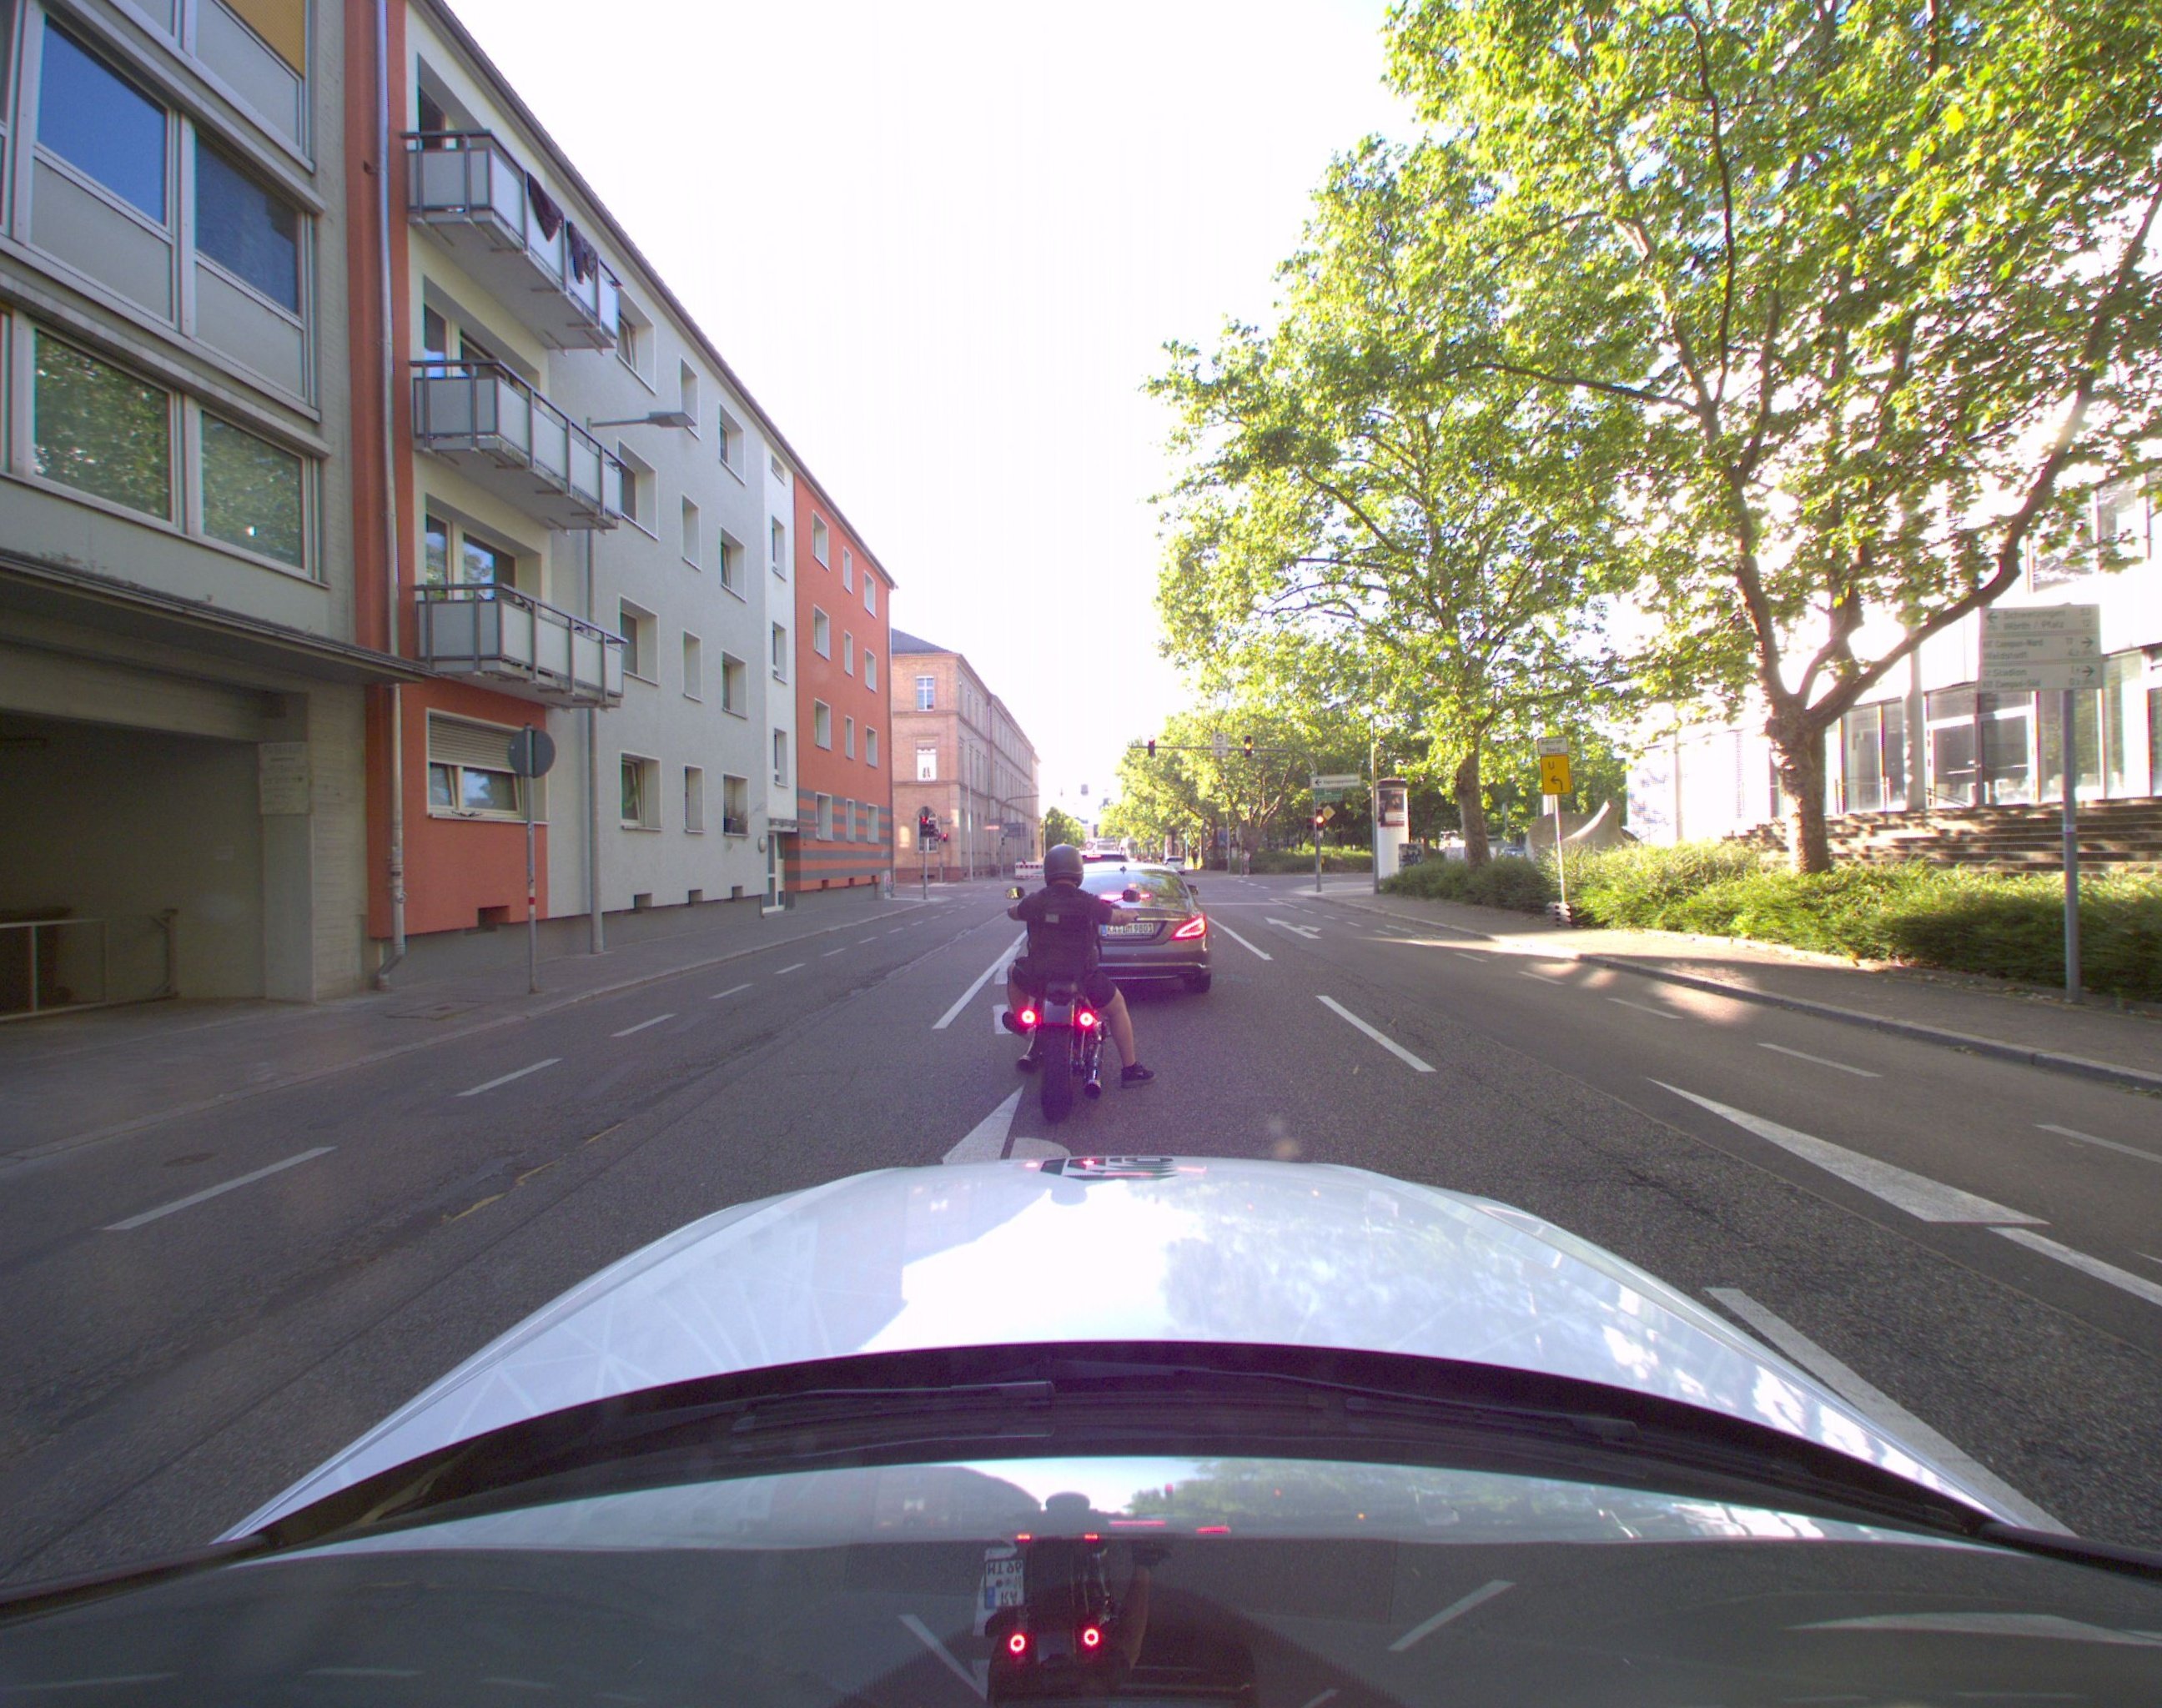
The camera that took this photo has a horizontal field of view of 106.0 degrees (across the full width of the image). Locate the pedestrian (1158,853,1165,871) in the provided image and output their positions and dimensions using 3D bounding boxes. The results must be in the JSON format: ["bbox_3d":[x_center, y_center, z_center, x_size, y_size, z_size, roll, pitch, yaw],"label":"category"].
[{"bbox_3d":[9.204,0.920,93.136,0.811,2.014,1.271,0,-1,2],"label":"pedestrian"}]

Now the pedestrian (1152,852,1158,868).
[{"bbox_3d":[9.417,0.776,103.831,0.654,2.014,0.933,0,-1,2],"label":"pedestrian"}]

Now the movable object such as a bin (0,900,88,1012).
[{"bbox_3d":[-11.257,1.061,8.645,0.626,1.100,0.659,0,-1,4],"label":"movable object such as a bin"}]

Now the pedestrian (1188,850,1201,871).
[{"bbox_3d":[10.562,0.613,75.748,0.753,1.910,0.918,0,-1,-26],"label":"pedestrian"}]

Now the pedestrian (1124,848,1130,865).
[{"bbox_3d":[5.722,0.283,100.891,0.761,2.051,0.712,0,-1,1],"label":"pedestrian"}]

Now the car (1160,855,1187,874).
[{"bbox_3d":[7.258,0.800,64.157,1.769,1.428,3.804,-1,0,2],"label":"car"}]

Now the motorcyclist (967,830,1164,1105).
[{"bbox_3d":[-0.073,0.668,5.408,1.145,1.598,1.288,0,-1,1],"label":"motorcyclist"}]

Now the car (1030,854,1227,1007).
[{"bbox_3d":[0.517,0.736,9.740,1.875,1.449,3.821,0,0,2],"label":"car"}]

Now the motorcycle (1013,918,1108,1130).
[{"bbox_3d":[-0.078,1.000,5.420,0.511,1.002,2.014,0,-1,2],"label":"motorcycle"}]

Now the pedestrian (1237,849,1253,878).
[{"bbox_3d":[10.697,0.623,53.186,0.996,1.826,1.078,0,-1,8],"label":"pedestrian"}]

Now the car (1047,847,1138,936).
[{"bbox_3d":[0.276,0.690,16.869,1.615,1.594,4.002,-1,0,2],"label":"car"}]
